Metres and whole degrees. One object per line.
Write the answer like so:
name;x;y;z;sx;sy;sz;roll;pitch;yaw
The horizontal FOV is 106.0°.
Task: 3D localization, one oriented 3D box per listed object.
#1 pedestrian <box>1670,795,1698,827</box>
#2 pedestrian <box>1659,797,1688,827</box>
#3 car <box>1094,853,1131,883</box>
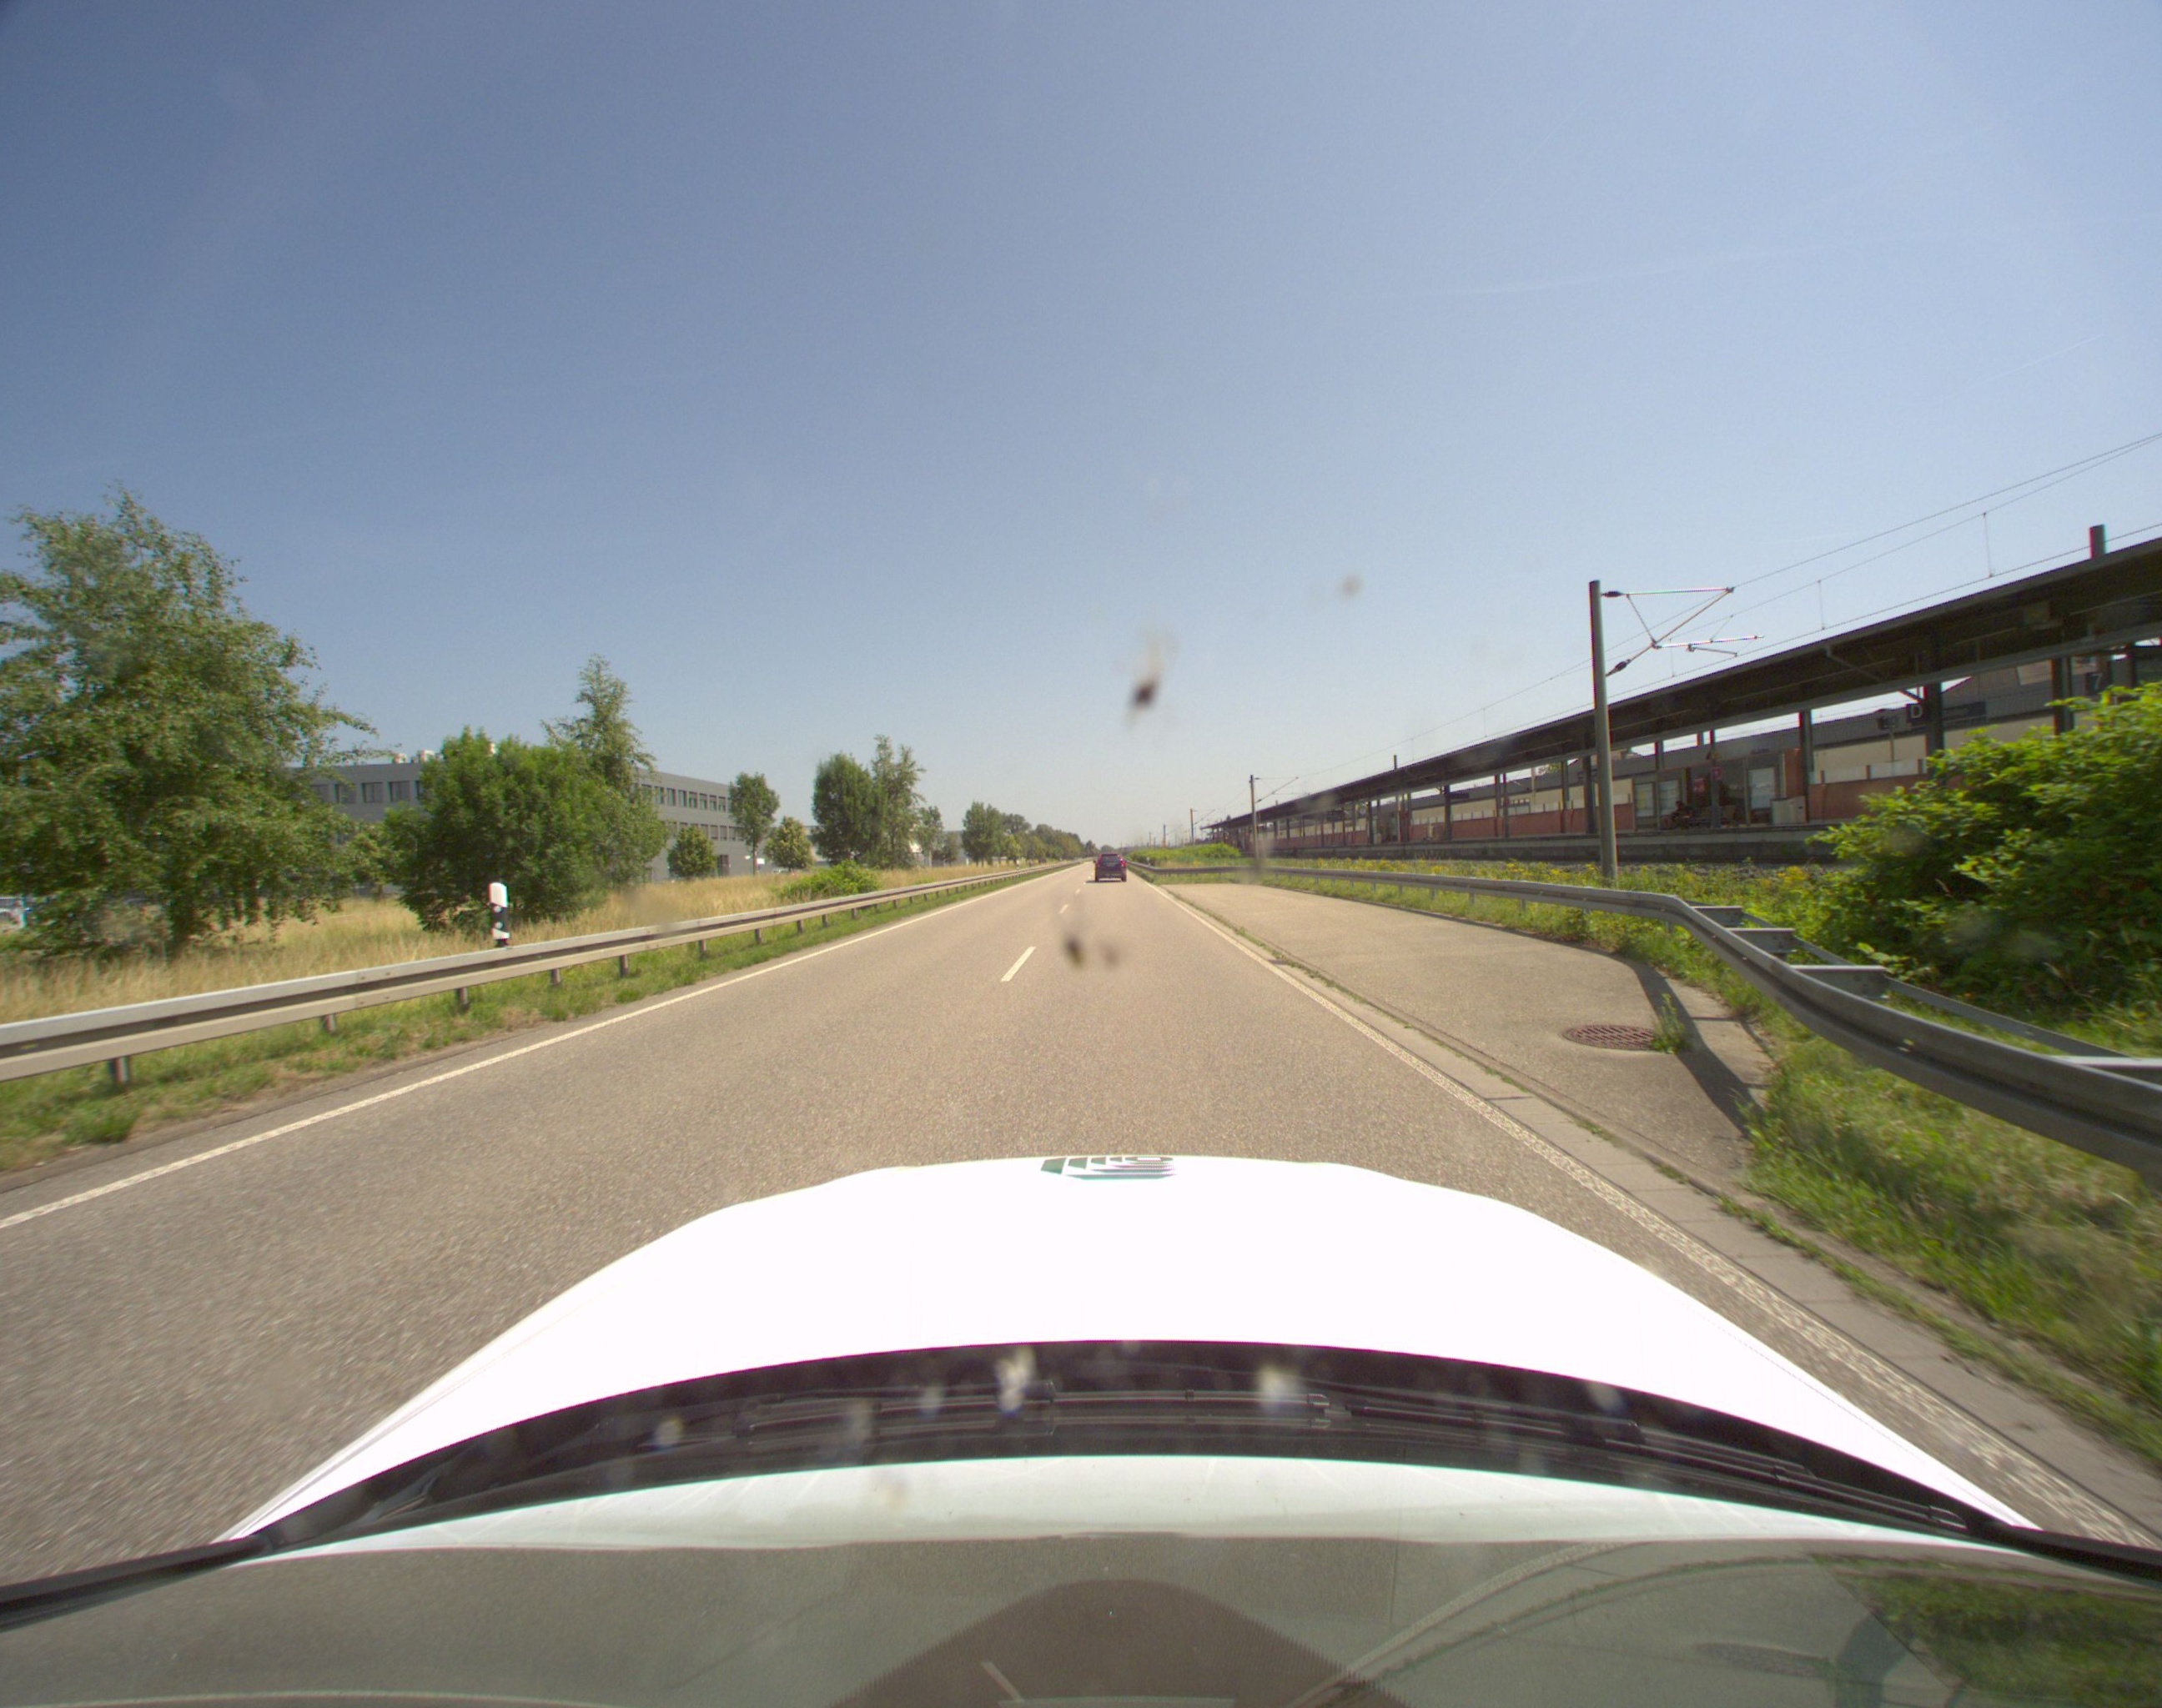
pedestrian;23.795;-1.693;32.132;0.674;1.214;0.531;-1;0;-1
pedestrian;23.799;-1.682;32.713;0.693;1.194;0.591;-1;0;-1
car;1.842;0.804;48.990;1.987;1.700;3.999;-2;0;-1
